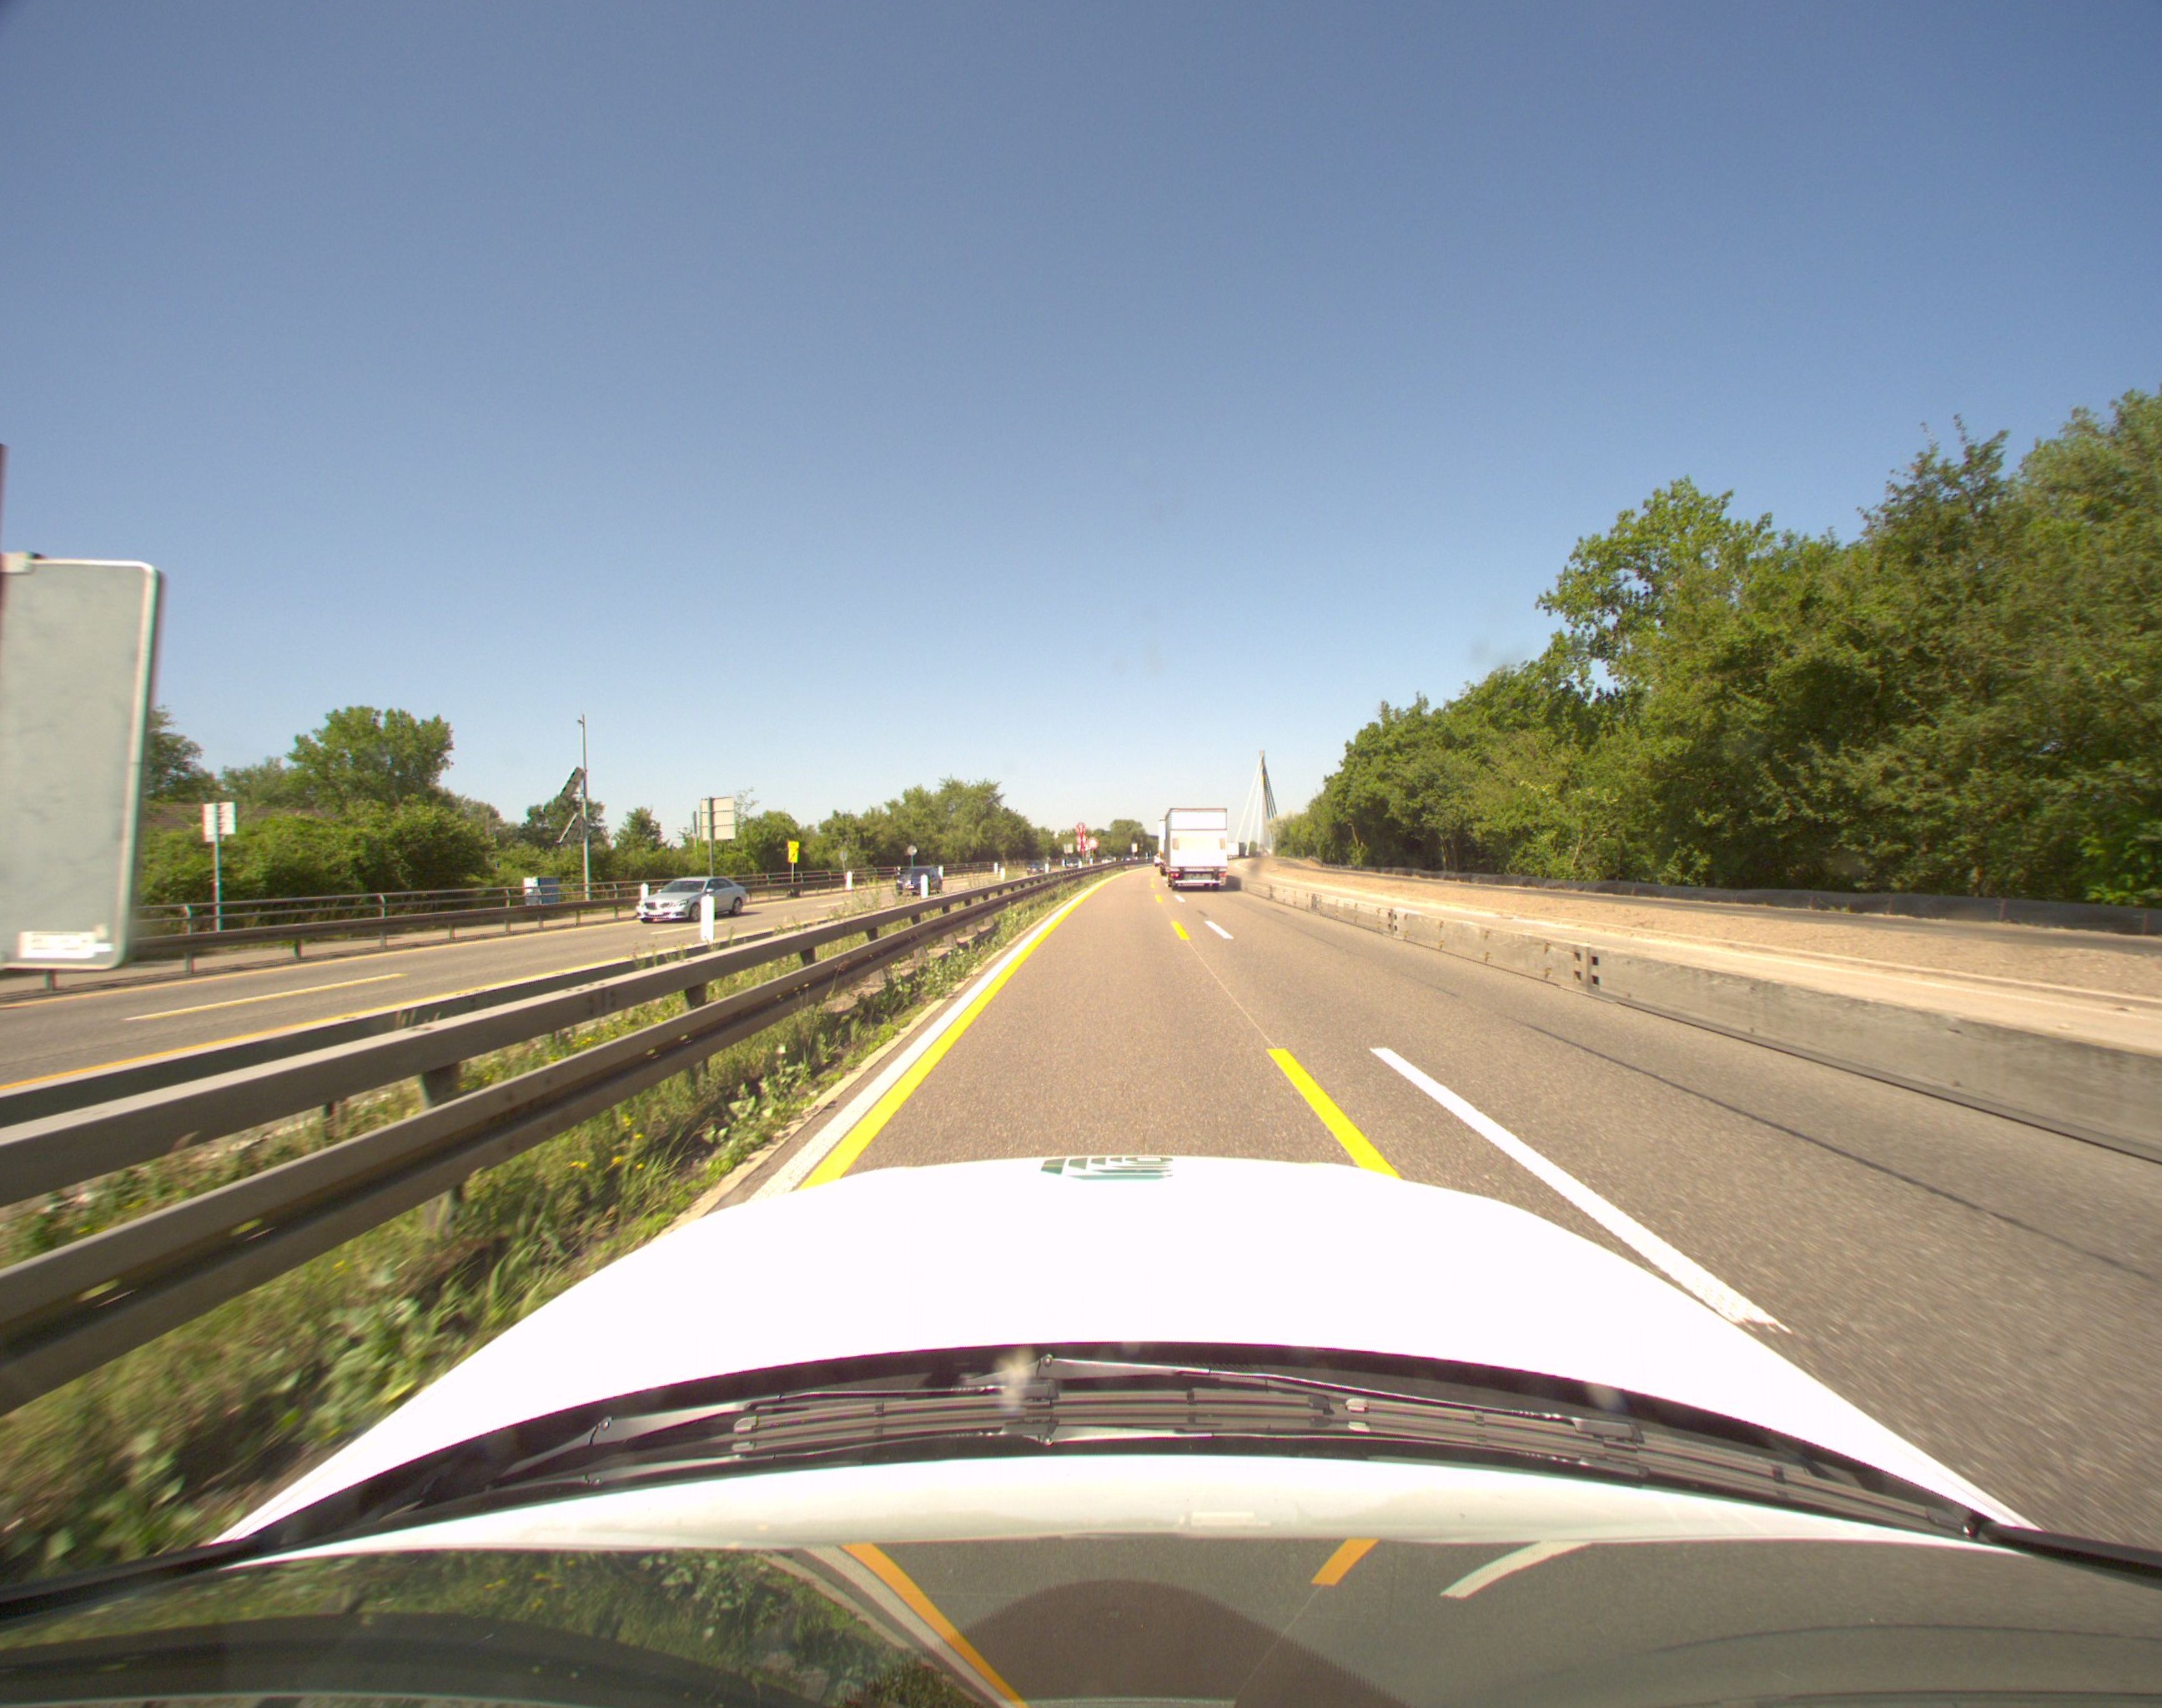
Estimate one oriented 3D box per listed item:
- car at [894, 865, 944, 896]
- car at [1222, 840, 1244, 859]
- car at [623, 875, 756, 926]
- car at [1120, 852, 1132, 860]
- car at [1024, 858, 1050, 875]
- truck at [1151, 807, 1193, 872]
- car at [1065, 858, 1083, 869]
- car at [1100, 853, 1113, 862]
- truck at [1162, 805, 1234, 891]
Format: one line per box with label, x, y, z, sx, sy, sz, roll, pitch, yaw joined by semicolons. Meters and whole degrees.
car;-8.910;1.425;45.142;1.730;1.498;4.004;-2;0;3
car;36.694;-1.189;196.537;4.176;4.251;10.705;-3;0;15
car;-13.671;1.572;28.824;1.875;1.420;4.868;-2;0;6
car;8.987;0.429;162.727;1.983;1.552;4.007;-2;0;6
car;-4.519;1.277;84.307;1.984;1.552;4.006;-2;0;5
truck;6.595;-1.000;59.725;2.623;4.468;7.239;0;0;3
car;-0.978;1.356;116.756;1.982;1.552;4.010;-2;0;8
car;4.357;0.579;138.130;1.983;1.552;4.007;-2;0;6
truck;5.011;-0.239;35.943;2.622;3.427;7.241;0;0;4
